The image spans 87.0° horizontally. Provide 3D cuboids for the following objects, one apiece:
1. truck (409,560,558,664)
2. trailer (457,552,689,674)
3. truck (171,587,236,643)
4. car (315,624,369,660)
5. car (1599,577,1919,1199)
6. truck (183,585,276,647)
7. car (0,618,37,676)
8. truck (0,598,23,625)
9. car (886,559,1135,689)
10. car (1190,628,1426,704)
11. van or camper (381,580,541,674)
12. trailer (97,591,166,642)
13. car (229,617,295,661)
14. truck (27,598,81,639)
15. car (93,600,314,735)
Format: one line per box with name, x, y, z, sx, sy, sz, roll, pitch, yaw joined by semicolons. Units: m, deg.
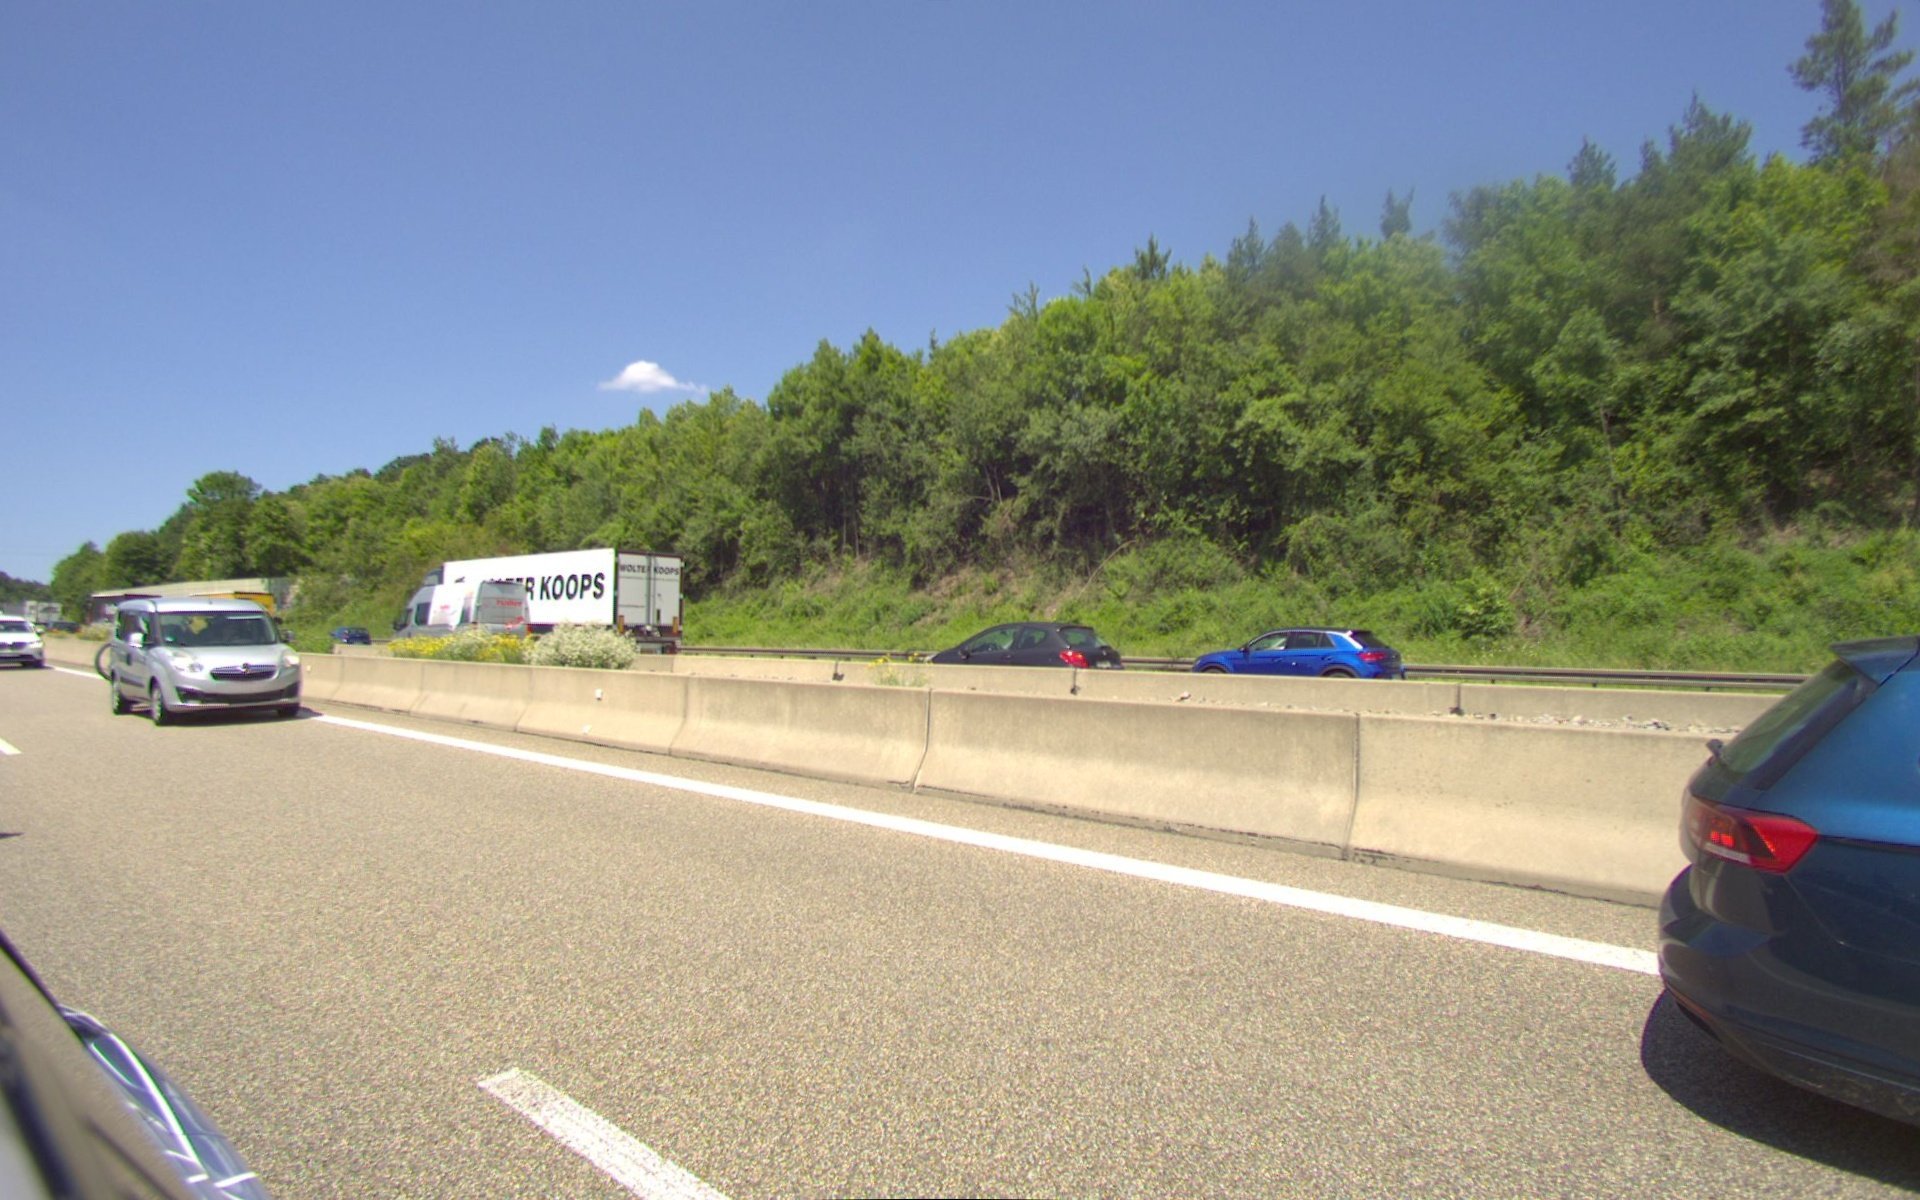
truck;-19.749;0.465;41.735;7.212;3.949;2.909;-1;0;41
trailer;-14.482;0.444;37.091;11.395;3.901;2.966;-1;0;41
truck;-64.541;1.263;86.328;7.091;4.579;3.059;-1;0;41
car;-37.984;2.546;62.181;1.970;2.029;4.003;-1;0;-44
car;4.051;0.646;1.820;4.676;1.461;1.855;-1;0;41
truck;-58.844;1.212;81.292;14.093;4.579;3.059;-1;0;41
car;-30.642;1.467;31.941;3.998;1.719;1.800;-1;0;41
truck;-173.312;2.199;183.781;14.093;4.580;3.235;-2;-1;41
car;0.833;0.377;17.824;3.996;2.029;1.974;-1;0;39
car;6.883;1.240;20.236;4.001;1.344;1.971;-2;-2;44
van or camper;-16.985;0.837;34.251;6.707;2.898;2.370;-1;0;40
trailer;-71.852;1.349;87.695;7.893;4.226;3.399;-1;0;41
car;-34.653;1.874;50.210;4.001;2.029;1.971;-1;0;44
truck;-111.009;2.331;123.922;14.093;4.580;3.235;-2;-1;41
car;-11.900;0.915;15.782;4.916;1.786;1.833;-1;0;42
